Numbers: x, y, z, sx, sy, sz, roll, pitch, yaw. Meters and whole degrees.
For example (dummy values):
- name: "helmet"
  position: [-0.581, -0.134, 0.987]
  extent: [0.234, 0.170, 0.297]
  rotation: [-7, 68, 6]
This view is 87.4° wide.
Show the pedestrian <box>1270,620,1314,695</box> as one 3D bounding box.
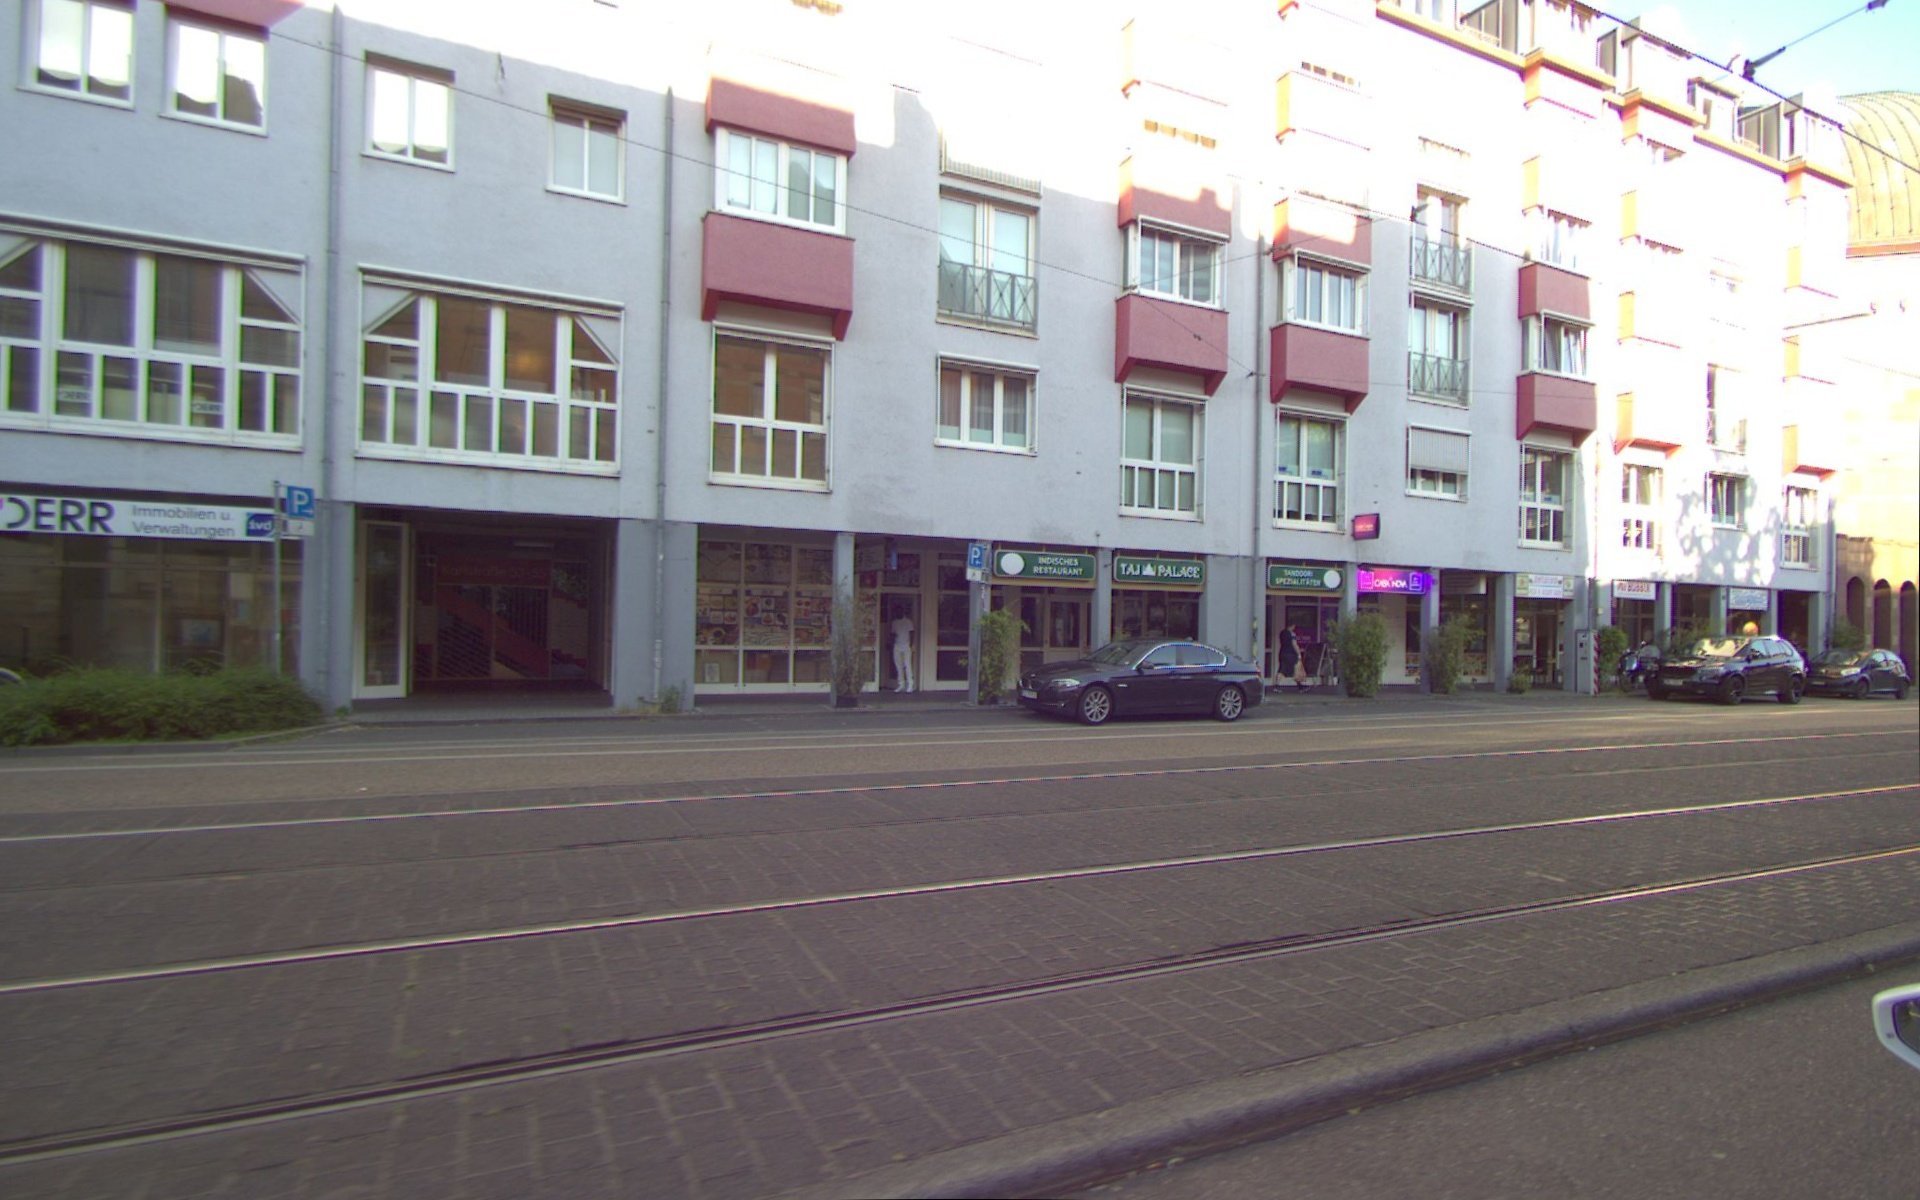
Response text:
- name: "pedestrian"
  position: [7.856, 1.359, 23.776]
  extent: [0.736, 1.735, 0.611]
  rotation: [2, 0, -27]

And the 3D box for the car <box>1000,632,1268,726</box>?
- name: "car"
  position: [3.218, 1.403, 18.360]
  extent: [4.649, 1.458, 1.861]
  rotation: [2, 0, -28]

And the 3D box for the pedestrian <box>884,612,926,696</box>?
- name: "pedestrian"
  position: [-1.175, 1.127, 21.340]
  extent: [0.608, 1.735, 0.740]
  rotation: [2, 0, -29]

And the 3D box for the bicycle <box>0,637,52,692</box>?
- name: "bicycle"
  position: [-12.964, 0.827, 12.946]
  extent: [1.789, 0.667, 0.453]
  rotation: [2, 2, -31]

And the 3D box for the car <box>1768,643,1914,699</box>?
- name: "car"
  position: [26.159, 2.097, 29.835]
  extent: [3.532, 1.470, 1.865]
  rotation: [3, 0, -23]

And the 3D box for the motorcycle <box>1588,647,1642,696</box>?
- name: "motorcycle"
  position: [17.715, 1.927, 27.156]
  extent: [2.125, 1.221, 0.663]
  rotation: [3, 0, -43]

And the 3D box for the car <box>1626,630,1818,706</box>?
- name: "car"
  position: [20.086, 1.797, 26.460]
  extent: [4.757, 1.735, 2.083]
  rotation: [3, 0, -27]
